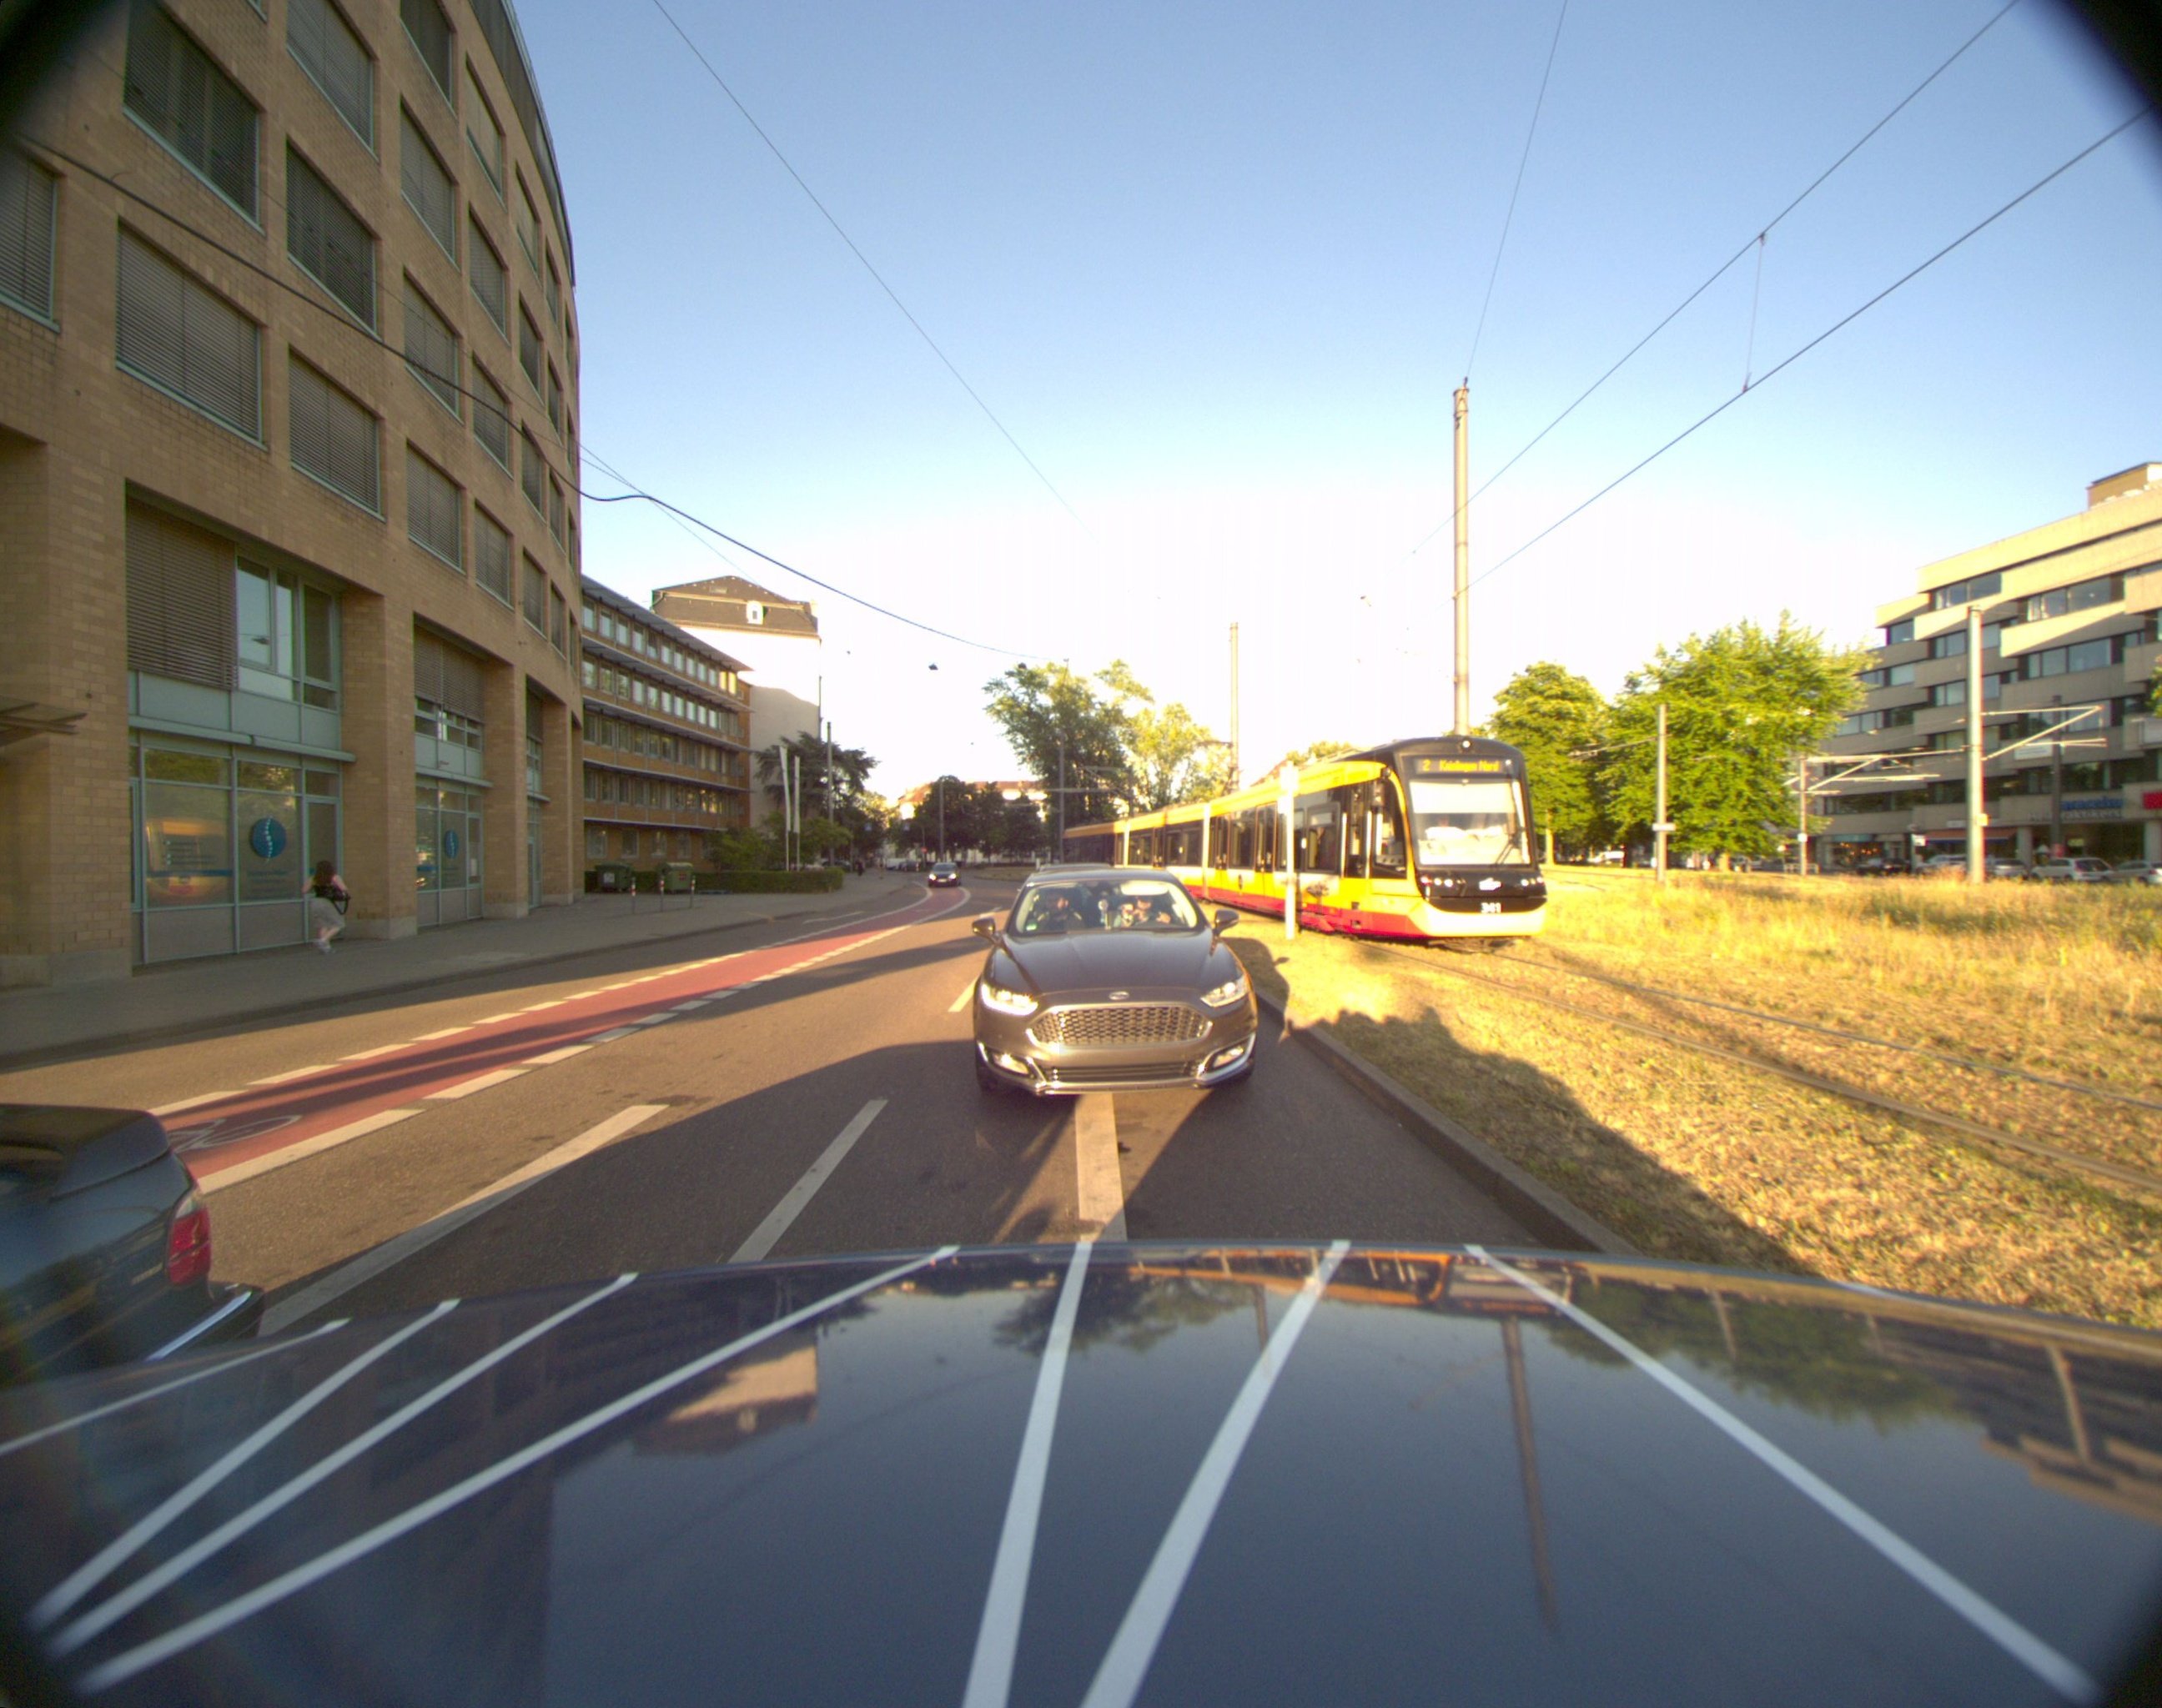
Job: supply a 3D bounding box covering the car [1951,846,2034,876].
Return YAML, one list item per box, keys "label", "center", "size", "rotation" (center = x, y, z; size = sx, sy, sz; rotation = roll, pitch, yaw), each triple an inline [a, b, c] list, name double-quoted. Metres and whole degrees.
- label: "car"
  center: [58.830, 0.432, 49.142]
  size: [1.995, 1.868, 4.007]
  rotation: [0, 0, 27]

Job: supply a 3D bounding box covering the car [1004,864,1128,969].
- label: "car"
  center: [-0.184, 0.994, 14.003]
  size: [1.897, 1.526, 4.705]
  rotation: [0, 0, 1]

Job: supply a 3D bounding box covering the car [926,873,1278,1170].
- label: "car"
  center: [0.154, 0.972, 6.470]
  size: [1.890, 1.477, 4.725]
  rotation: [0, 0, 1]

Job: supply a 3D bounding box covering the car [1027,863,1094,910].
- label: "car"
  center: [-0.810, 1.088, 27.068]
  size: [2.000, 1.453, 4.140]
  rotation: [-1, 0, -7]

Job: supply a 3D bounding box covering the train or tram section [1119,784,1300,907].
- label: "train or tram section"
  center: [4.267, -0.271, 29.230]
  size: [2.887, 3.717, 12.172]
  rotation: [-1, 0, -10]

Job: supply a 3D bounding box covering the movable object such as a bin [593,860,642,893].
- label: "movable object such as a bin"
  center: [-21.187, 1.025, 34.753]
  size: [1.427, 1.450, 1.332]
  rotation: [-1, 0, -2]

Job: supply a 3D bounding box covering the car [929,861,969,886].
- label: "car"
  center: [-8.131, 1.161, 46.995]
  size: [1.759, 1.379, 3.999]
  rotation: [-2, 0, -1]

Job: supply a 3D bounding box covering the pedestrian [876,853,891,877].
- label: "pedestrian"
  center: [-15.861, 0.848, 60.932]
  size: [0.913, 1.883, 1.124]
  rotation: [-1, 1, -29]

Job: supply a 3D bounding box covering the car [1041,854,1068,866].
- label: "car"
  center: [-3.765, 0.847, 108.653]
  size: [1.995, 1.739, 4.007]
  rotation: [0, 0, 28]

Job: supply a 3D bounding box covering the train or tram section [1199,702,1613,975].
- label: "train or tram section"
  center: [5.530, -0.234, 17.038]
  size: [2.917, 3.717, 13.213]
  rotation: [-1, 0, -3]

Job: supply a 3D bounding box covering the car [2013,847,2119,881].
- label: "car"
  center: [56.306, 0.556, 43.566]
  size: [1.995, 1.868, 4.006]
  rotation: [-1, 0, 22]

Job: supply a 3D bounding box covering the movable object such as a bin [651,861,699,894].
- label: "movable object such as a bin"
  center: [-18.272, 1.052, 34.245]
  size: [1.427, 1.450, 1.332]
  rotation: [-1, 0, -3]

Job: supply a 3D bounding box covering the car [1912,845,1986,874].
- label: "car"
  center: [61.334, 0.378, 53.773]
  size: [1.995, 1.925, 4.007]
  rotation: [-1, 0, 24]

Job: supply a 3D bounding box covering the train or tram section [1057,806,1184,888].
- label: "train or tram section"
  center: [1.655, -0.320, 40.619]
  size: [2.917, 3.717, 12.174]
  rotation: [-1, 0, -16]

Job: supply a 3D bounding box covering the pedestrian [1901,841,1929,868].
- label: "pedestrian"
  center: [63.908, 0.042, 58.213]
  size: [1.138, 2.023, 0.892]
  rotation: [-1, 1, 3]

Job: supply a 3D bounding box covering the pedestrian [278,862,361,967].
- label: "pedestrian"
  center: [-12.528, 0.969, 12.521]
  size: [0.628, 1.672, 0.713]
  rotation: [-1, 1, -3]

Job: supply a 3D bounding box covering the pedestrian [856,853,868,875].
- label: "pedestrian"
  center: [-17.520, 0.806, 60.826]
  size: [0.728, 1.797, 0.724]
  rotation: [-1, 1, 1]

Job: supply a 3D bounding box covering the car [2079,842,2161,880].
- label: "car"
  center: [54.246, 0.348, 38.990]
  size: [1.921, 1.853, 4.006]
  rotation: [0, 0, 23]

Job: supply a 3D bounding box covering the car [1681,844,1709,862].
- label: "car"
  center: [71.974, -0.152, 89.065]
  size: [1.995, 2.002, 4.007]
  rotation: [-2, 1, 32]
